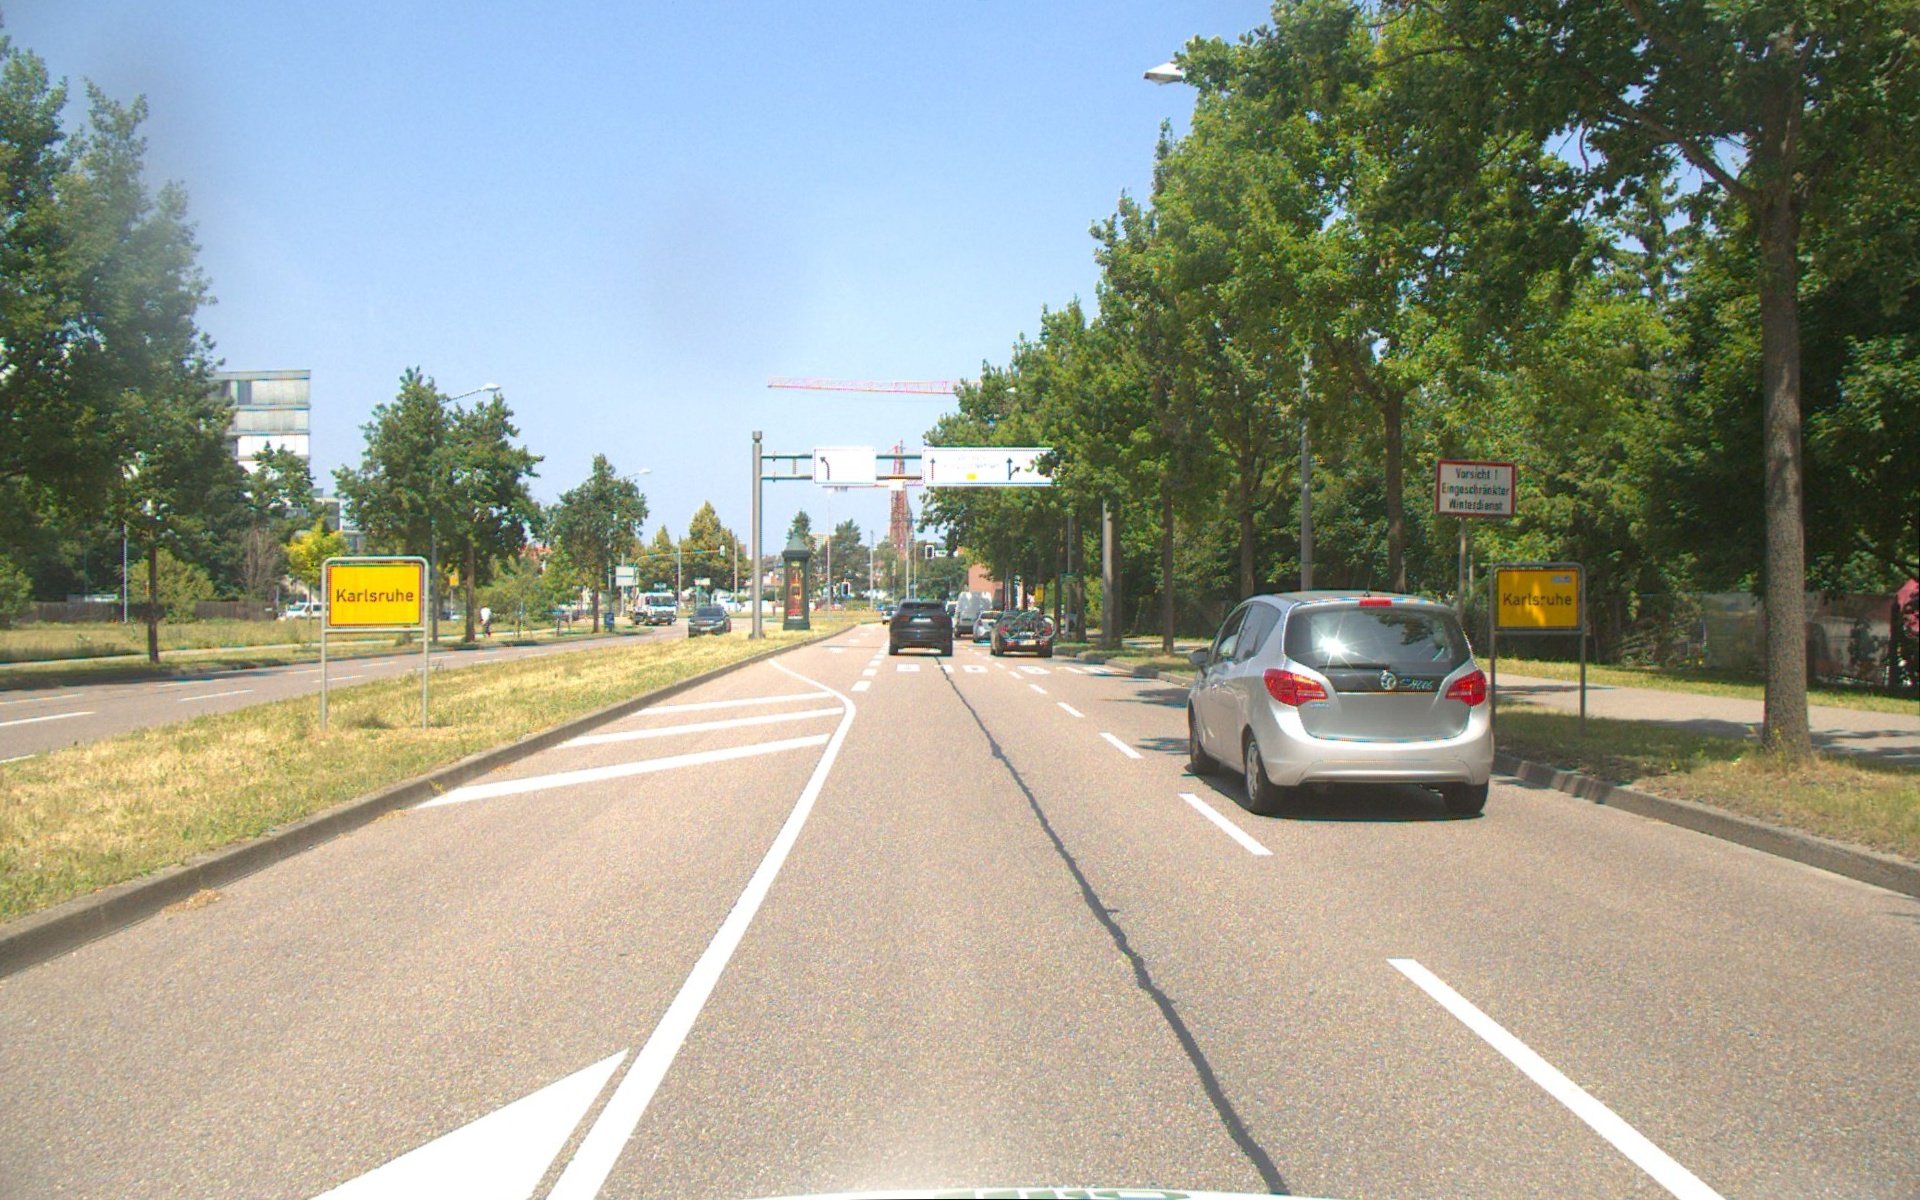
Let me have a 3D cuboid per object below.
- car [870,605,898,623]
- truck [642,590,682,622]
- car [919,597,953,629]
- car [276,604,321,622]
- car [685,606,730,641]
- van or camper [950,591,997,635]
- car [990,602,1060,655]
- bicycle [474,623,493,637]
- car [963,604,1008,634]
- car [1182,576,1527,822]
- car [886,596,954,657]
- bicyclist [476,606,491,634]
[{"bbox_3d":[-6.052,1.092,131.323,1.955,1.344,3.995,0,1,-6],"label":"car"},{"bbox_3d":[-24.434,0.472,135.814,2.586,2.621,6.313,0,0,-4],"label":"truck"},{"bbox_3d":[-1.601,0.848,108.332,1.955,2.049,3.996,0,0,-5],"label":"car"},{"bbox_3d":[-71.039,1.372,177.633,1.955,1.911,4.283,-1,0,29],"label":"car"},{"bbox_3d":[-12.856,1.166,84.484,1.855,1.639,4.531,-2,0,-4],"label":"car"},{"bbox_3d":[0.721,0.713,92.453,2.443,2.331,4.919,0,0,-2],"label":"van or camper"},{"bbox_3d":[1.962,0.838,50.905,1.973,1.544,4.460,0,0,0],"label":"car"},{"bbox_3d":[-26.073,1.618,90.587,0.471,0.728,1.850,0,0,1],"label":"bicycle"},{"bbox_3d":[1.166,0.881,77.784,1.622,1.380,4.456,0,0,-5],"label":"car"},{"bbox_3d":[2.937,0.662,13.154,1.756,1.640,3.890,1,0,-1],"label":"car"},{"bbox_3d":[-1.183,0.762,49.943,1.957,1.719,4.033,1,0,-1],"label":"car"},{"bbox_3d":[-26.076,1.094,90.543,0.610,1.515,0.757,0,-1,1],"label":"bicyclist"}]
